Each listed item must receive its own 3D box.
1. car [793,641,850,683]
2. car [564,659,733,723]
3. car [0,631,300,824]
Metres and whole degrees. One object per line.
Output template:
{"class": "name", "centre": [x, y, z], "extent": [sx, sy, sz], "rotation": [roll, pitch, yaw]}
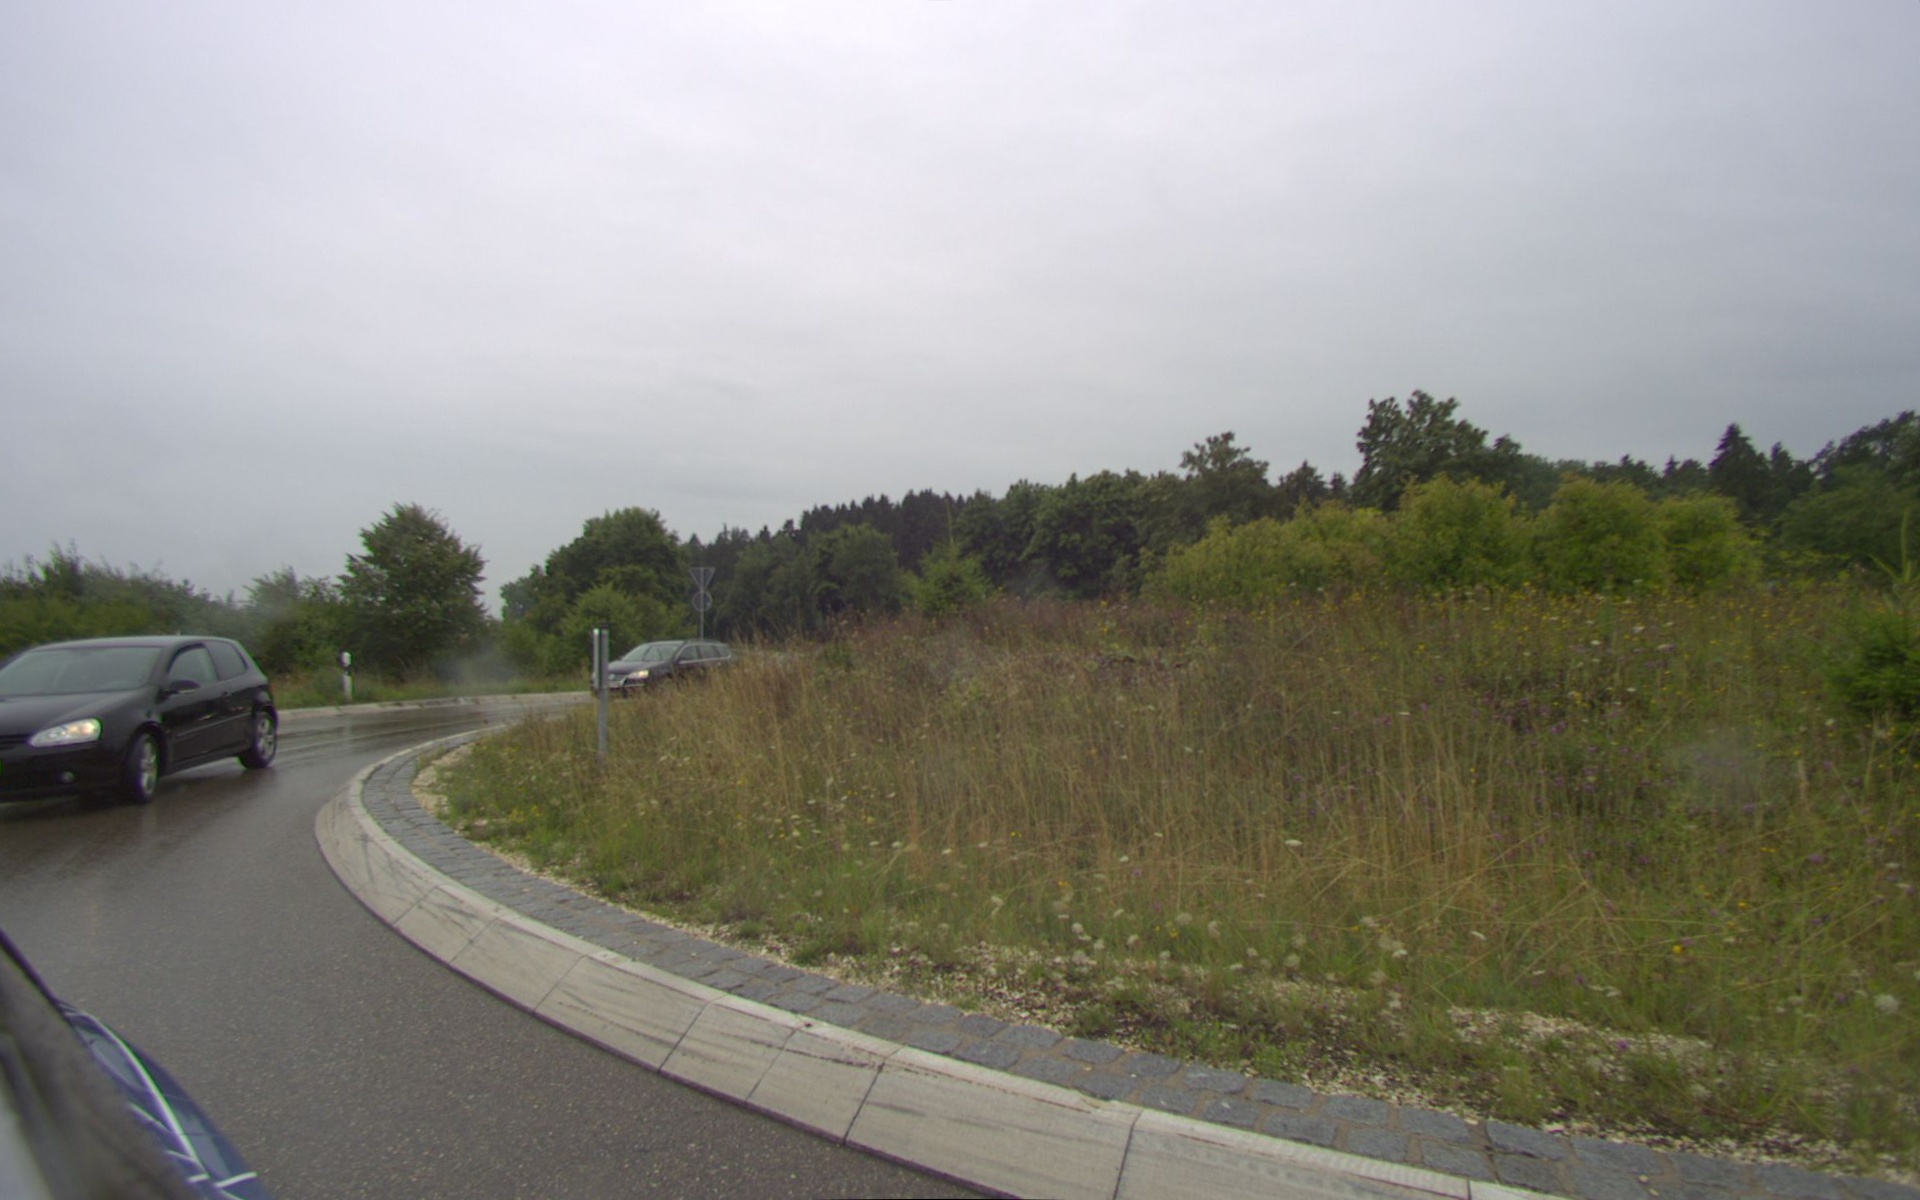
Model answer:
{"class": "car", "centre": [-5.034, 2.296, 37.378], "extent": [1.738, 1.432, 4.506], "rotation": [0, -4, -3]}
{"class": "car", "centre": [-7.309, 2.130, 24.287], "extent": [1.930, 1.382, 4.485], "rotation": [-1, -4, 12]}
{"class": "car", "centre": [-8.148, 1.058, 9.613], "extent": [1.842, 1.432, 4.516], "rotation": [1, -3, -16]}
